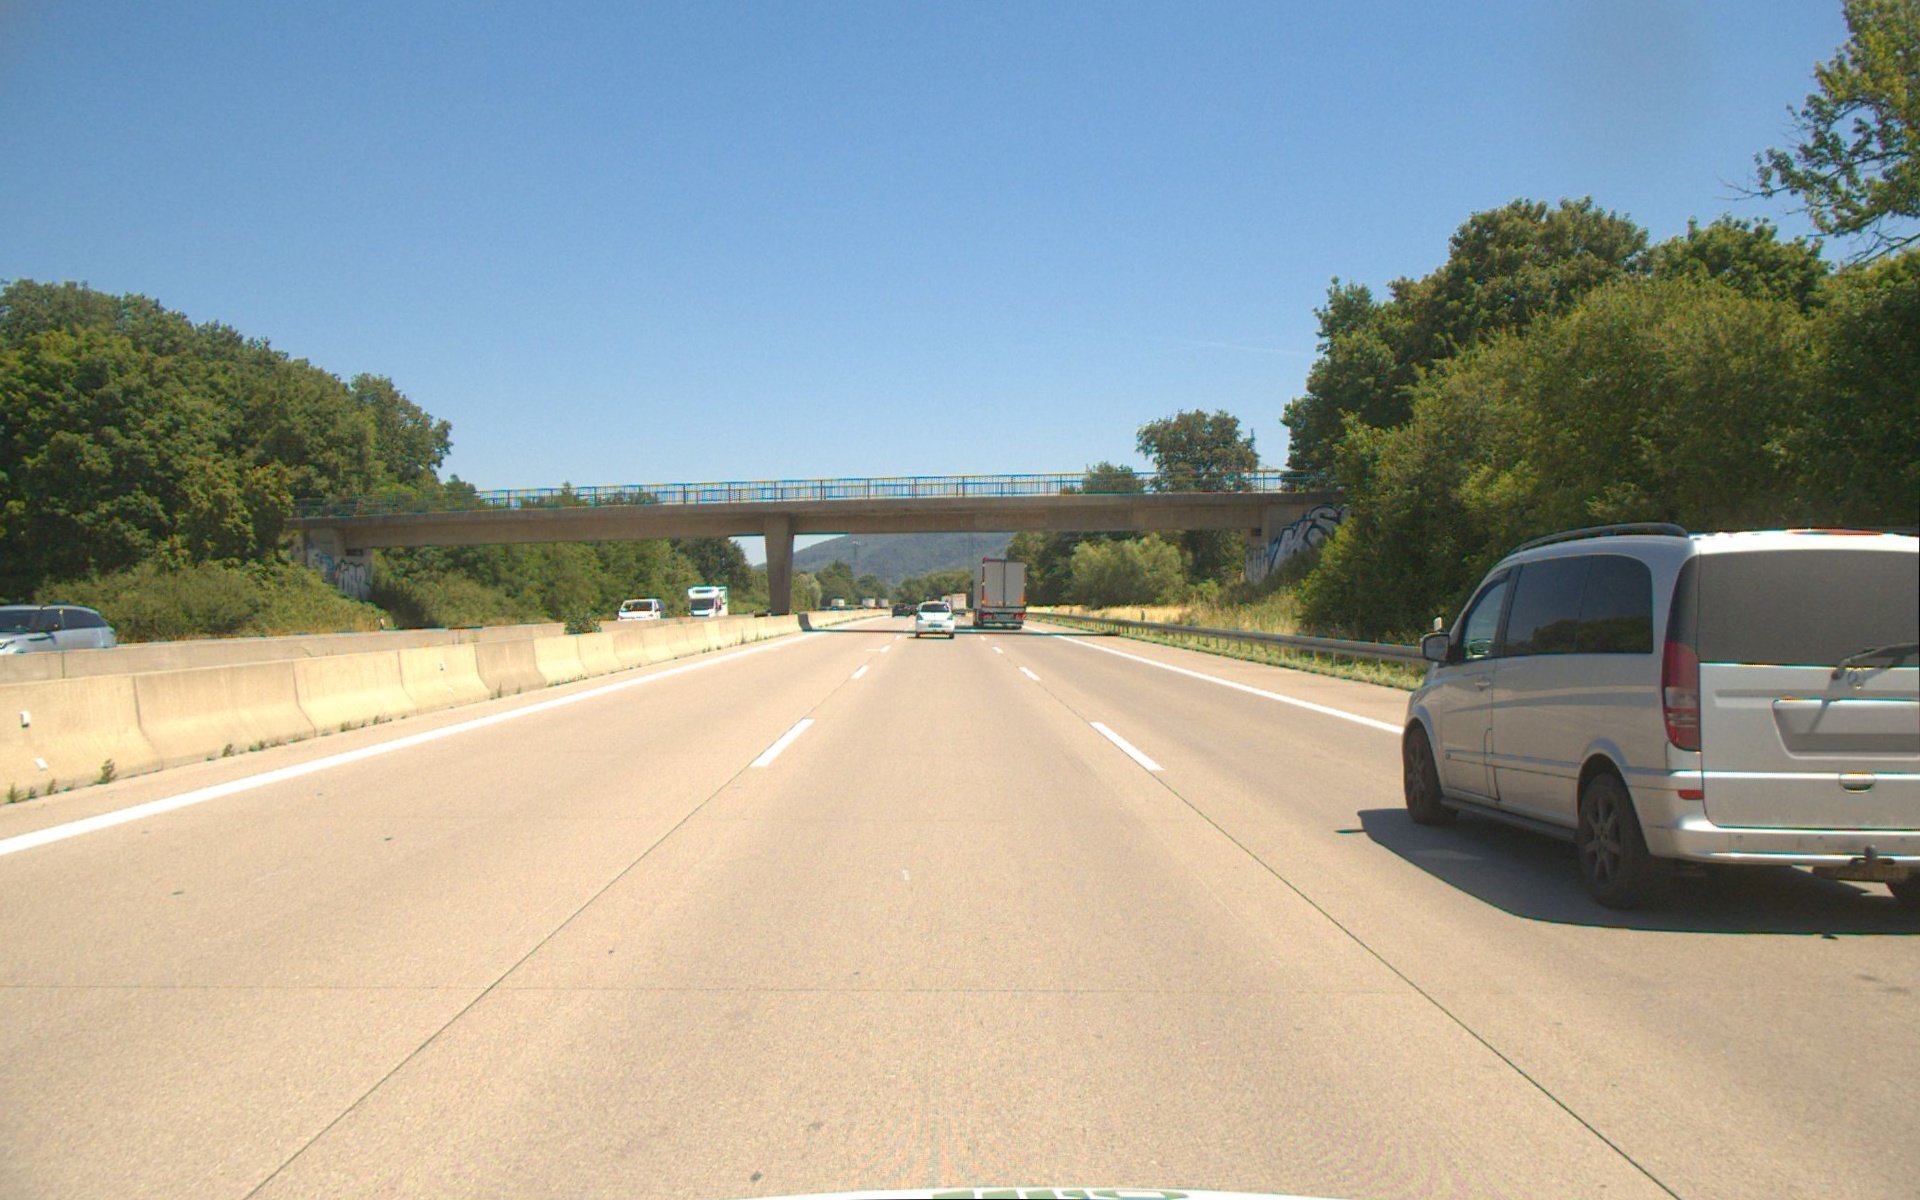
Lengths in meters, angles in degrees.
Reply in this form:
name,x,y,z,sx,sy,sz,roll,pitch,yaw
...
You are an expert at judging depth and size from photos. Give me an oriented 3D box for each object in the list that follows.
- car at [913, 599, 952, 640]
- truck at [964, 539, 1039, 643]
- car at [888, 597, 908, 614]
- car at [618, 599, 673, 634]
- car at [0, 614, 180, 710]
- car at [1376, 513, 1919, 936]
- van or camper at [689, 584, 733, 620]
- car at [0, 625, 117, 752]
name,x,y,z,sx,sy,sz,roll,pitch,yaw
car,-1.170,0.802,70.328,1.608,1.691,3.359,1,0,-1
truck,2.365,-0.525,102.977,3.505,5.889,18.238,0,0,-2
car,-6.682,0.566,178.028,1.982,1.730,3.997,2,0,-4
car,-16.014,0.813,84.398,1.789,1.748,5.791,0,0,-1
car,-16.583,1.053,30.043,2.023,1.523,6.134,-1,0,-1
car,4.178,0.562,10.178,1.841,1.922,5.278,0,0,-1
van or camper,-18.136,0.123,120.847,2.203,2.486,7.800,1,0,-1
car,-12.666,1.122,21.156,1.721,1.523,4.079,-1,0,-1
